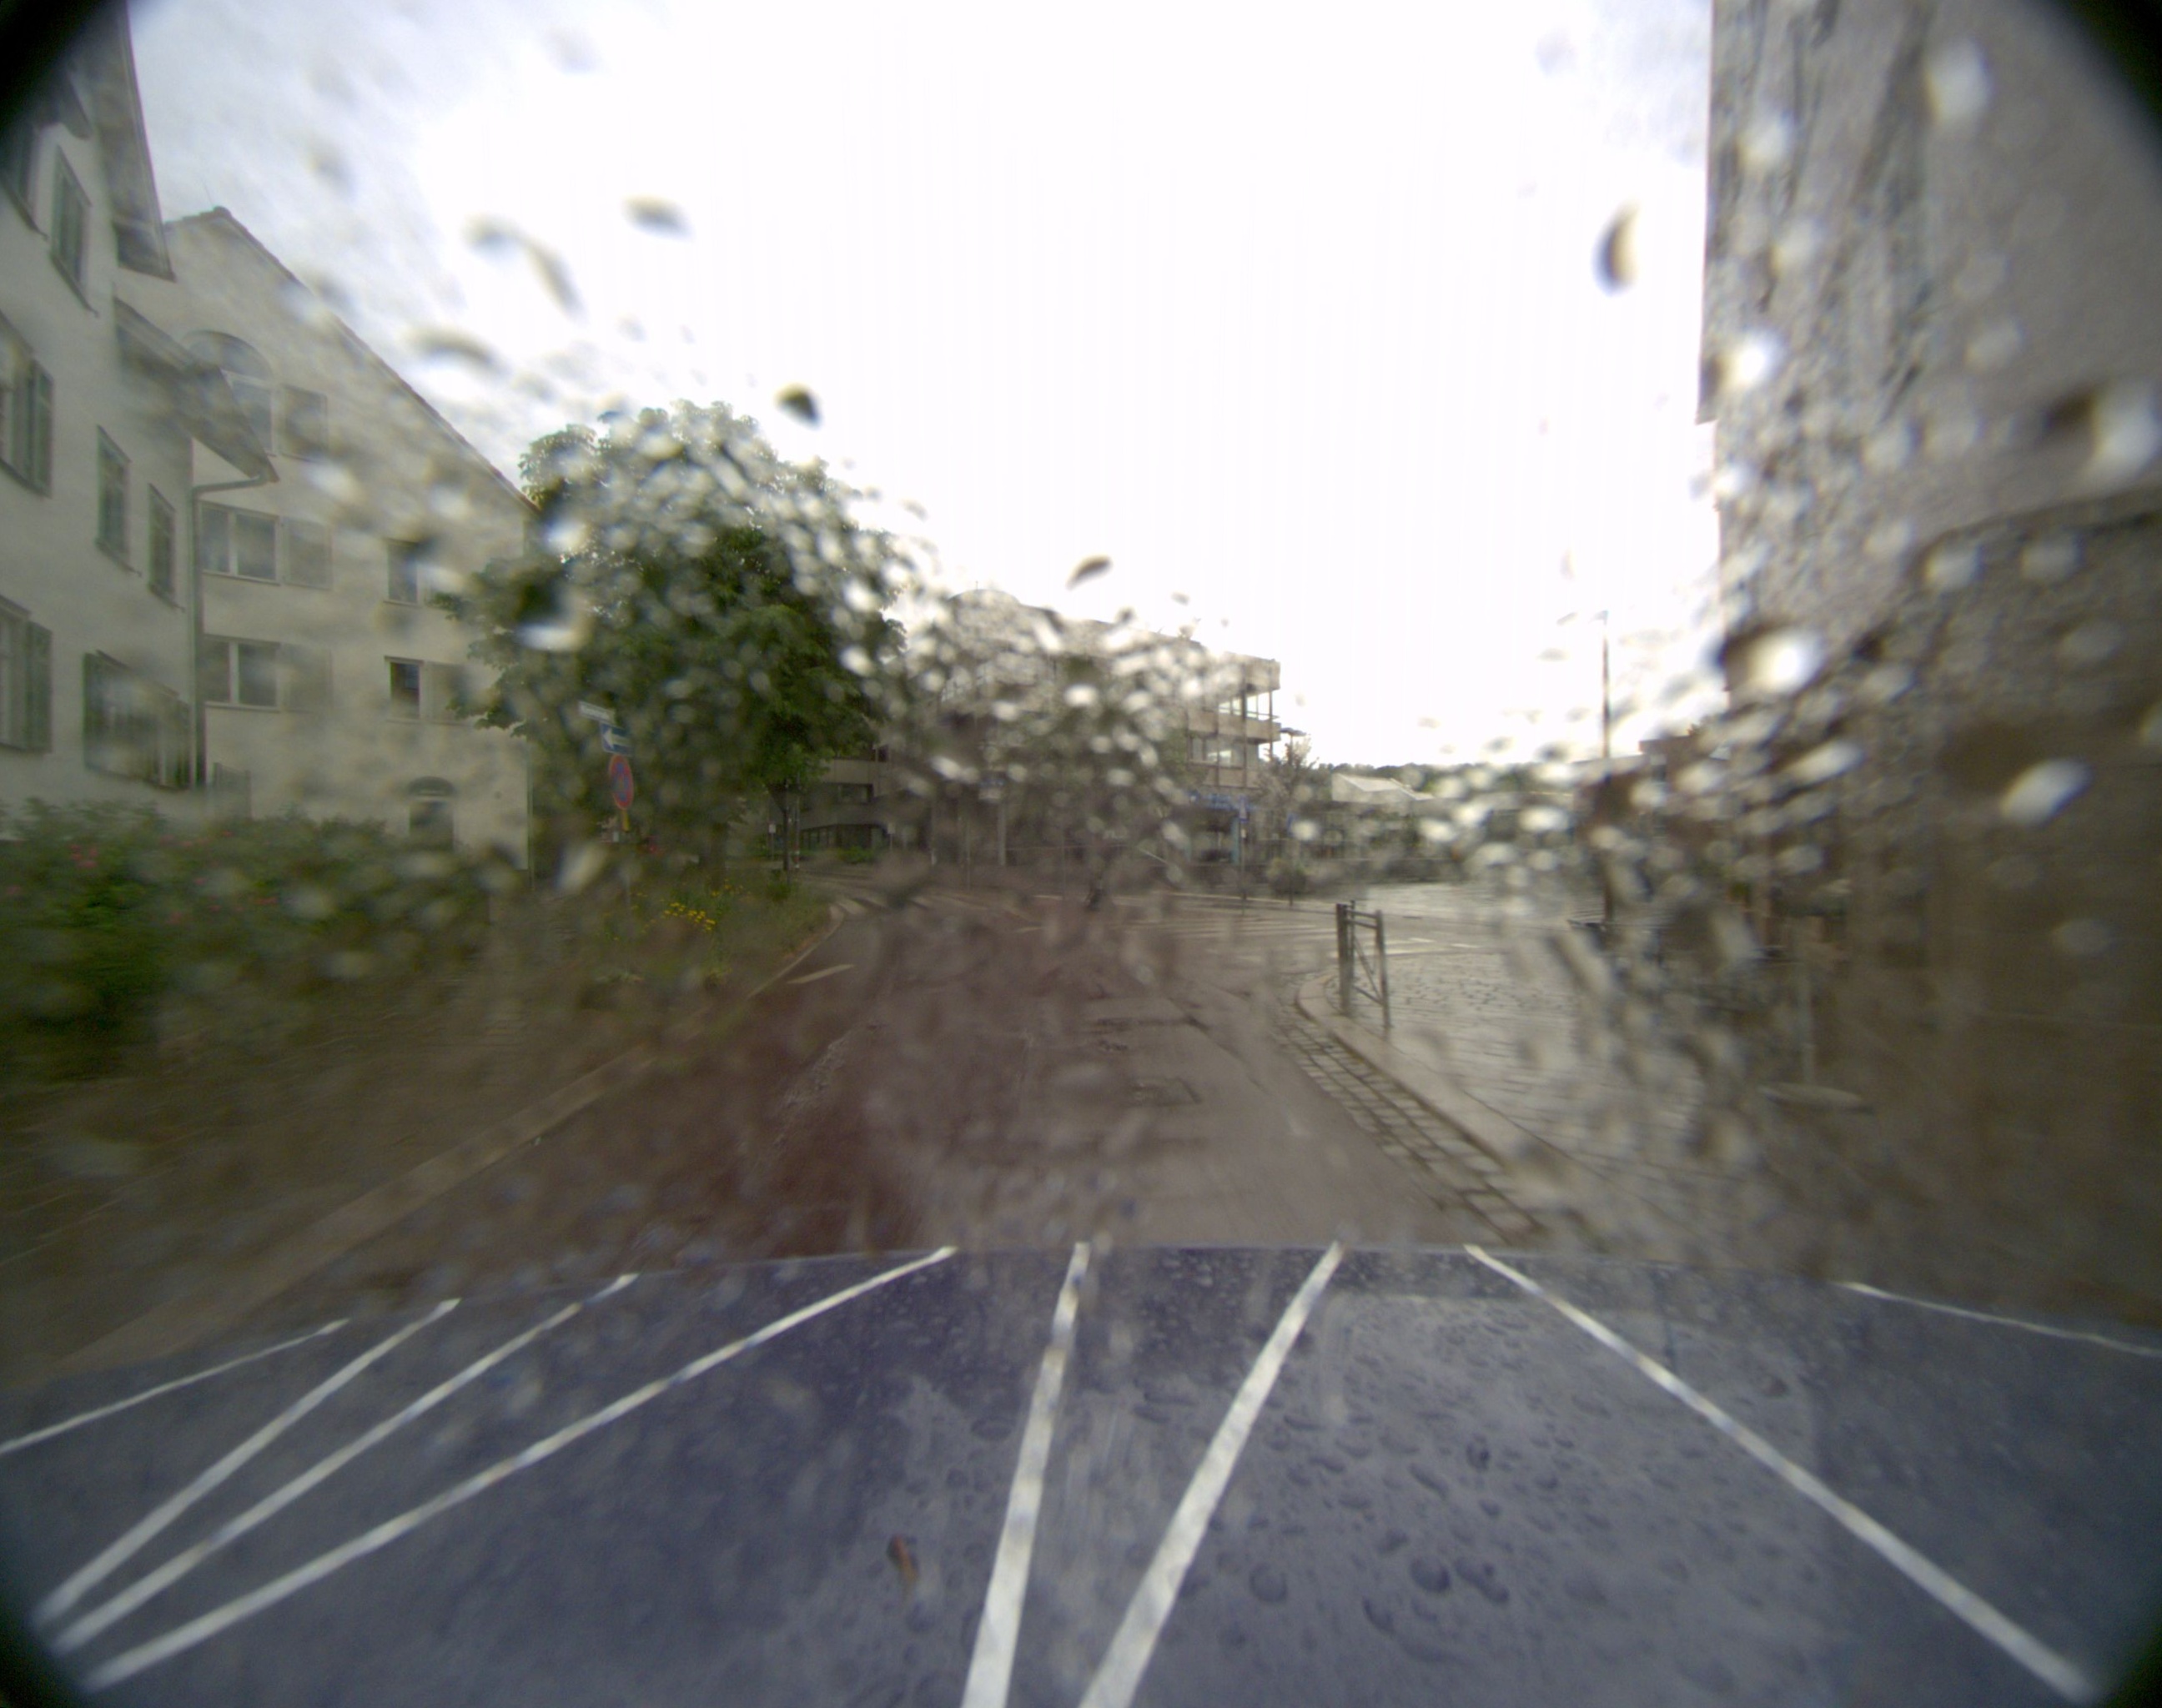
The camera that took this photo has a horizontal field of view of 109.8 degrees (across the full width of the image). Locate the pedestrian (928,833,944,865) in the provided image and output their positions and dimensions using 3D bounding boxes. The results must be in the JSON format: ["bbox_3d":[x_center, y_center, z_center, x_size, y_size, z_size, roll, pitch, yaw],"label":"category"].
[{"bbox_3d":[-8.717,-0.305,45.647,0.837,1.820,0.814,2,4,-11],"label":"pedestrian"}]

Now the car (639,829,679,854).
[{"bbox_3d":[-33.290,-1.007,59.862,1.872,1.820,4.171,0,3,-41],"label":"car"}]

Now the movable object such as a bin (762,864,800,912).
[{"bbox_3d":[-7.451,0.837,18.895,0.741,1.118,0.648,-1,3,-36],"label":"movable object such as a bin"}]
